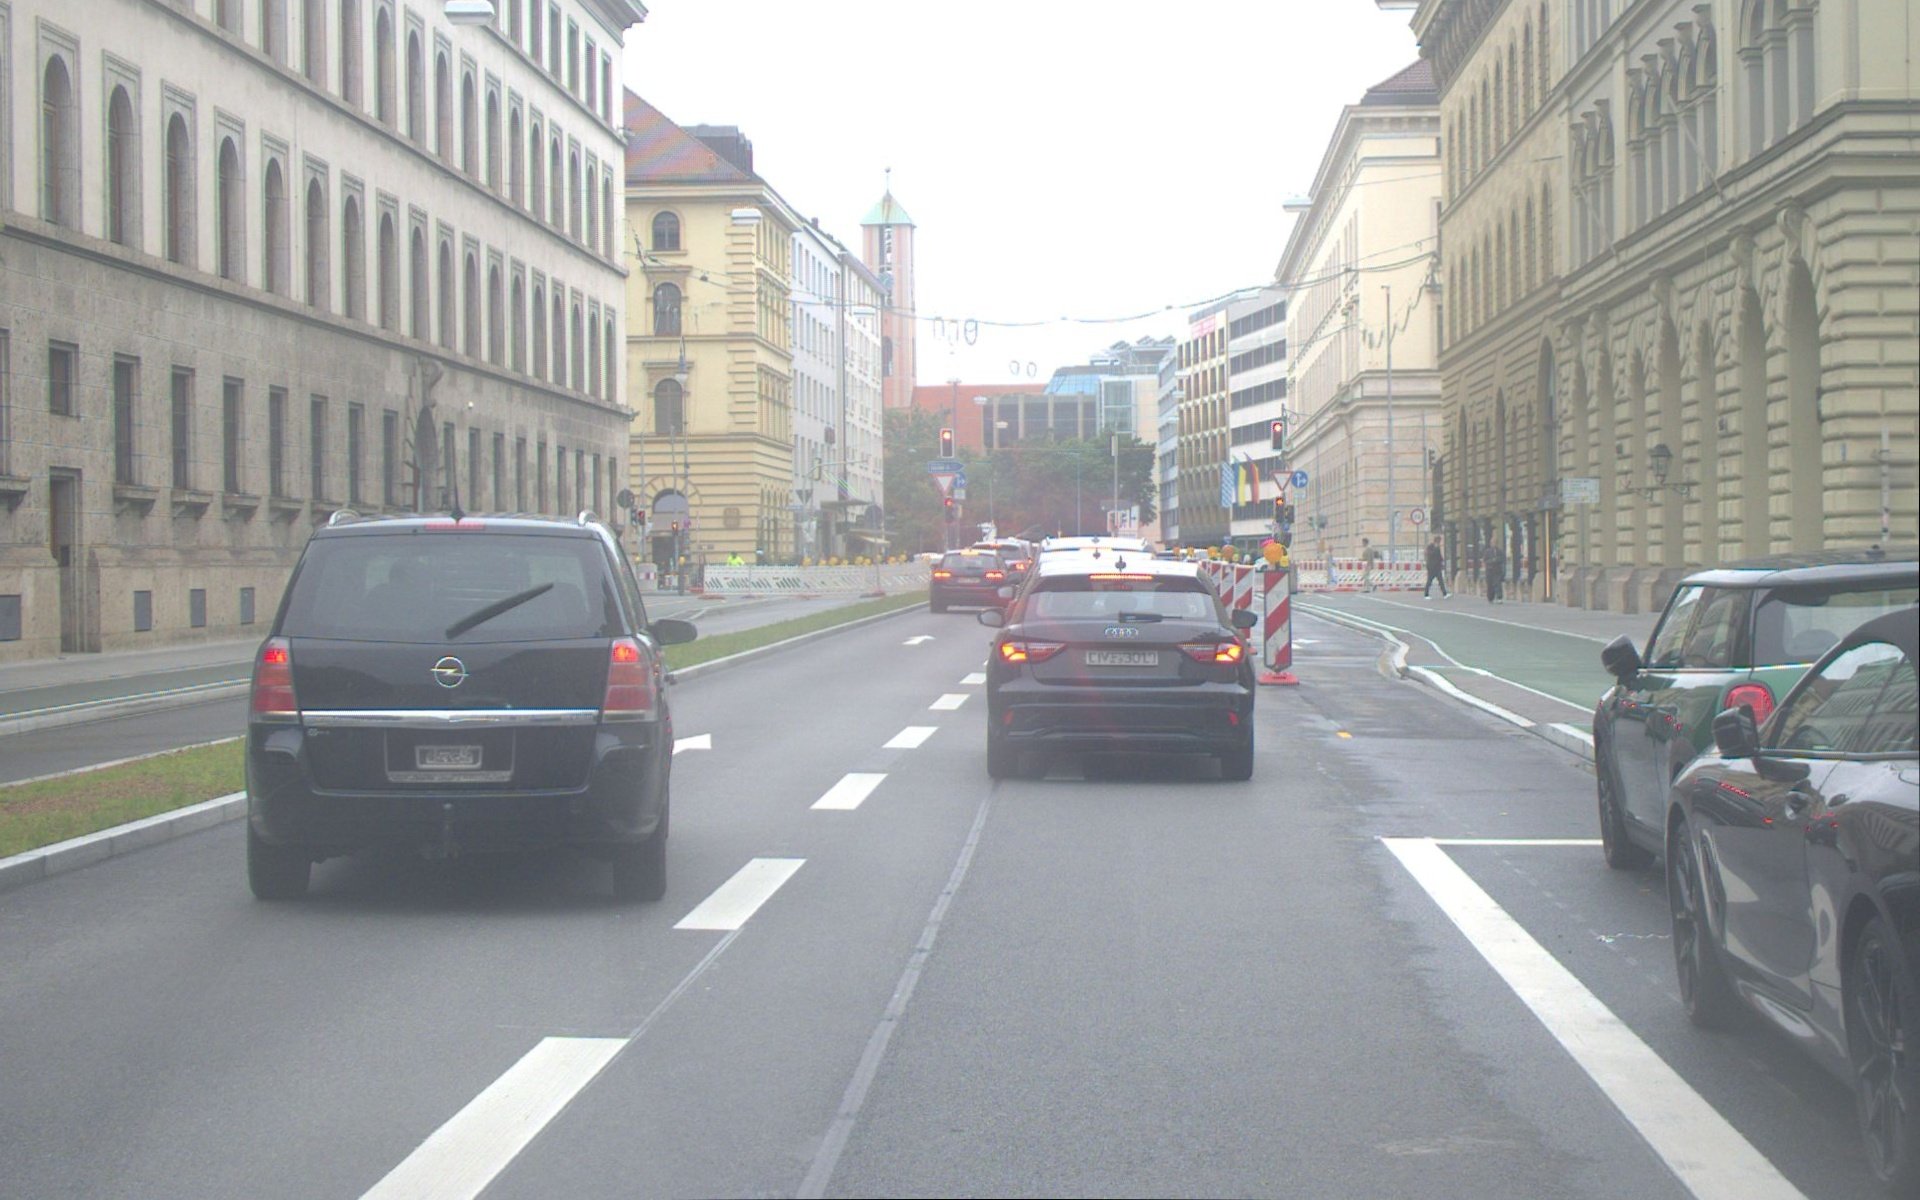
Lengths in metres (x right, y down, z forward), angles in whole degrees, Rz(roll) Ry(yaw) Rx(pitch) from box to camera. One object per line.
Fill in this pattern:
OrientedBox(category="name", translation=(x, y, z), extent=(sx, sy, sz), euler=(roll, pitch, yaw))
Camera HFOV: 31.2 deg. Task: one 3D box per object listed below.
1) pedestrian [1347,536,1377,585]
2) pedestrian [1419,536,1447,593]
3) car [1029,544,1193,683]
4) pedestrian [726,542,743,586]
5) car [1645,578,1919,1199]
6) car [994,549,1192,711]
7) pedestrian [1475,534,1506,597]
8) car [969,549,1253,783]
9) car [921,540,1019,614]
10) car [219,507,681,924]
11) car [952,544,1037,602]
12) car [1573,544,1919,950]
OrientedBox(category="pedestrian", translation=(13.528, -1.329, 115.671), extent=(0.710, 1.612, 0.754), euler=(-1, 1, -26))
OrientedBox(category="pedestrian", translation=(13.323, -1.004, 96.803), extent=(0.710, 1.612, 0.754), euler=(0, 1, 3))
OrientedBox(category="car", translation=(1.716, 0.112, 38.849), extent=(1.730, 1.456, 4.000), euler=(1, 1, 3))
OrientedBox(category="pedestrian", translation=(-9.448, -1.511, 144.053), extent=(0.656, 1.799, 0.727), euler=(0, 1, 2))
OrientedBox(category="car", translation=(3.045, 0.684, 9.061), extent=(1.826, 1.402, 4.719), euler=(1, 1, 4))
OrientedBox(category="car", translation=(1.275, 0.236, 32.529), extent=(1.730, 1.398, 4.000), euler=(1, 1, 3))
OrientedBox(category="pedestrian", translation=(13.672, -0.899, 88.594), extent=(0.710, 1.612, 0.754), euler=(0, 1, 3))
OrientedBox(category="car", translation=(1.028, 0.378, 23.233), extent=(1.730, 1.398, 4.000), euler=(1, 1, 3))
OrientedBox(category="car", translation=(0.250, -0.543, 77.677), extent=(1.994, 1.622, 4.000), euler=(0, 1, 3))
OrientedBox(category="car", translation=(-2.265, 0.412, 15.386), extent=(1.764, 1.610, 4.031), euler=(1, 1, -8))
OrientedBox(category="car", translation=(0.901, -0.707, 88.372), extent=(1.994, 1.439, 4.000), euler=(0, 1, 3))
OrientedBox(category="car", translation=(3.722, 0.530, 14.916), extent=(1.675, 1.515, 3.829), euler=(1, 1, 4))
